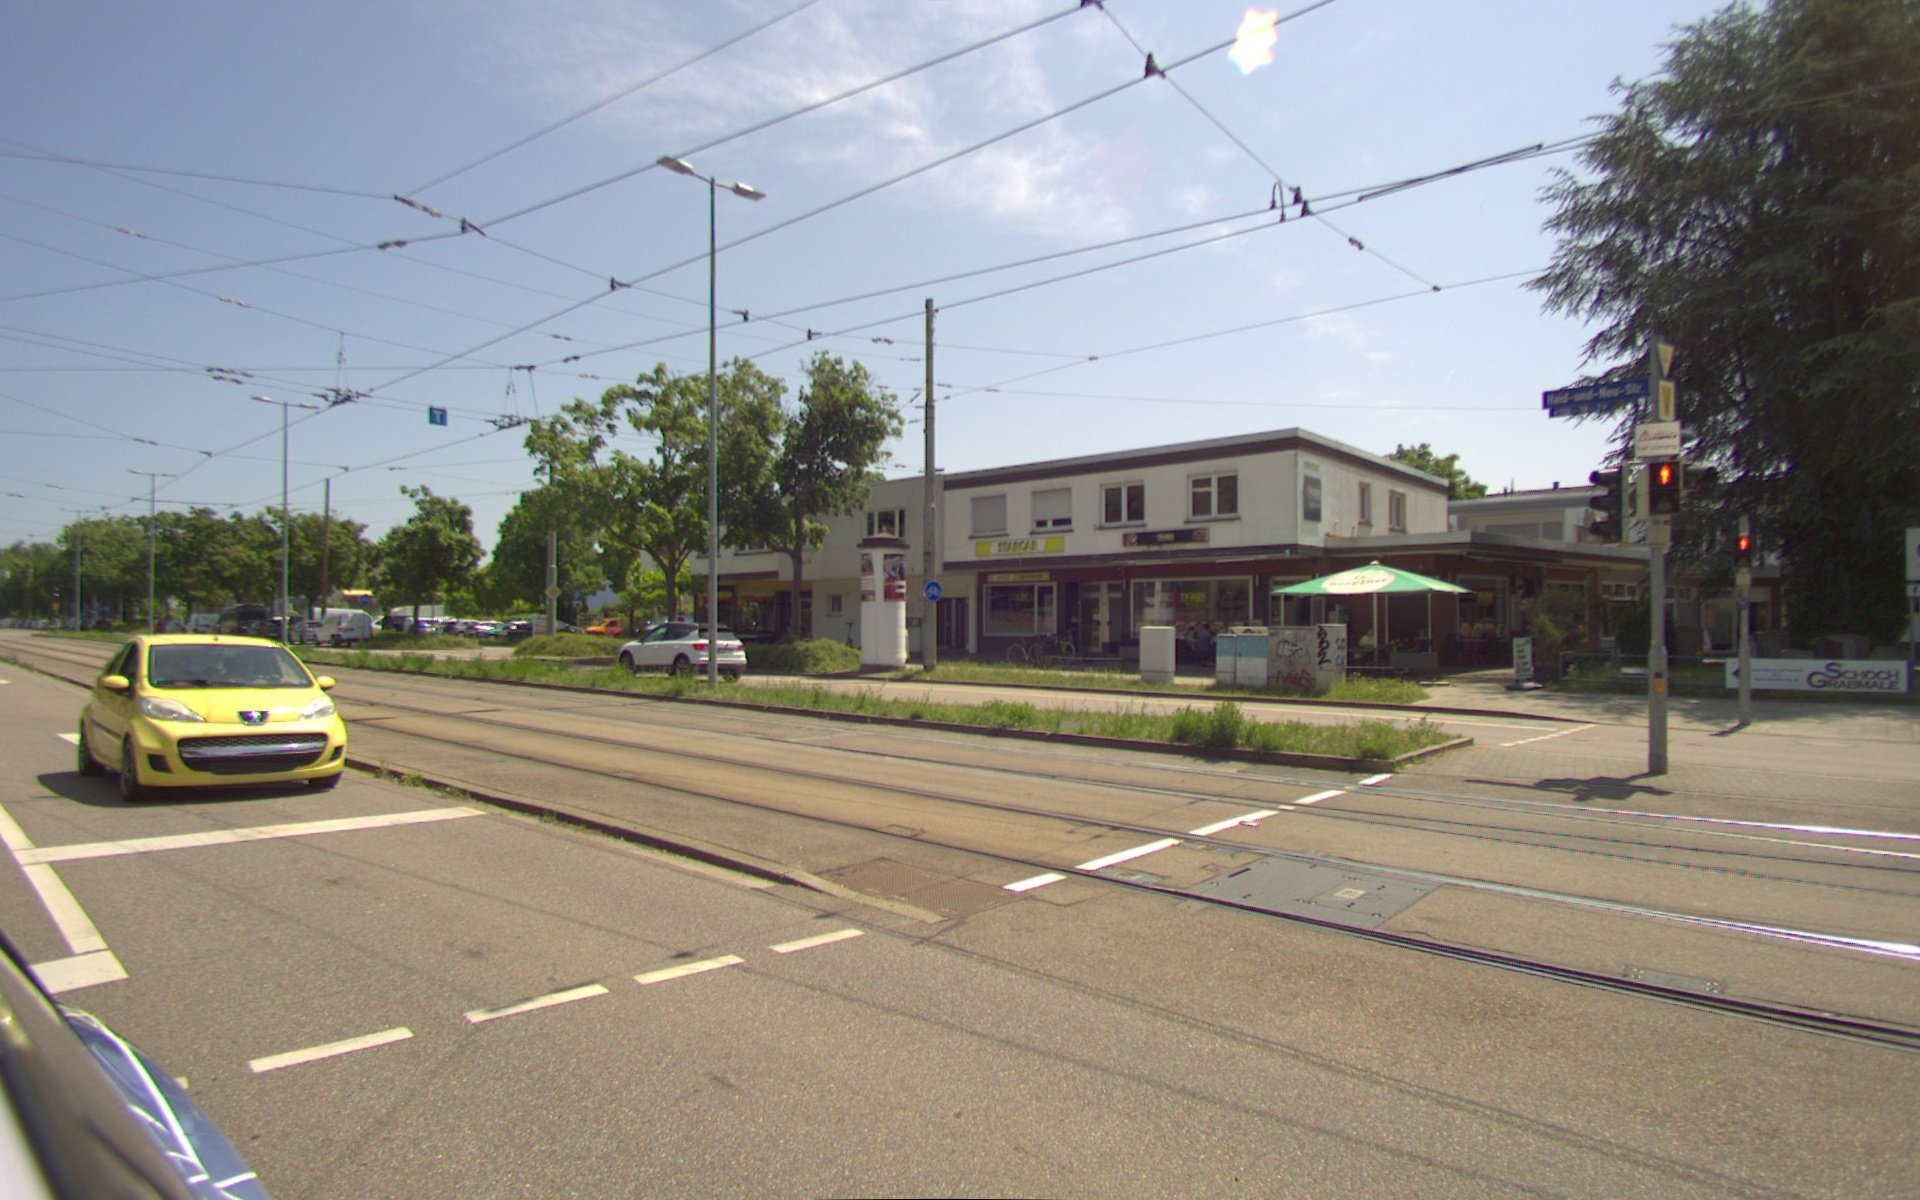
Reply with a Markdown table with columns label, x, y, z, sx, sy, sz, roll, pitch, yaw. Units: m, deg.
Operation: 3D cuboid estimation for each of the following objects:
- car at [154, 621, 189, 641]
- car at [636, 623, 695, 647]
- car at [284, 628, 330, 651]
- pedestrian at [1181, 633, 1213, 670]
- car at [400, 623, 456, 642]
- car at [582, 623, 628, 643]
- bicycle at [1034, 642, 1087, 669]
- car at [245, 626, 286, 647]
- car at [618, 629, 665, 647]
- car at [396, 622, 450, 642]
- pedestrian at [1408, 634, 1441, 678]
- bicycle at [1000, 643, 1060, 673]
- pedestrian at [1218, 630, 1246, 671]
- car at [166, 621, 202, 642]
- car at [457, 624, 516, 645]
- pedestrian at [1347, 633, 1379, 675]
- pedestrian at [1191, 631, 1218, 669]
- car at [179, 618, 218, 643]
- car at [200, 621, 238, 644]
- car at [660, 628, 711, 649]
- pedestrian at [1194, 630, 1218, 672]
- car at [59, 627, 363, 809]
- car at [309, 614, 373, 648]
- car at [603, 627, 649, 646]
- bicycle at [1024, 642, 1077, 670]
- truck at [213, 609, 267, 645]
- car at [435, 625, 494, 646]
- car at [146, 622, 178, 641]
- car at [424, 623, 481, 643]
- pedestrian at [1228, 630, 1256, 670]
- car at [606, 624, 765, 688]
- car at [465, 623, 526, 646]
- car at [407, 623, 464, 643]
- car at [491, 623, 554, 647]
| label | x | y | z | sx | sy | sz | roll | pitch | yaw |
| --- | --- | --- | --- | --- | --- | --- | --- | --- | --- |
| car | -70.583 | 2.790 | 90.578 | 4.201 | 1.807 | 1.659 | -2 | -3 | 42 |
| car | -22.393 | 2.651 | 77.004 | 1.812 | 1.798 | 3.947 | -1 | -2 | 39 |
| car | -40.795 | 2.435 | 63.221 | 3.570 | 1.397 | 1.652 | -1 | -3 | 44 |
| pedestrian | 7.415 | 1.603 | 31.639 | 0.810 | 1.136 | 0.558 | -1 | -3 | 43 |
| car | -40.514 | 2.476 | 77.128 | 1.601 | 1.404 | 3.373 | -1 | -2 | 37 |
| car | -29.602 | 2.749 | 84.450 | 1.505 | 1.573 | 3.312 | -1 | -2 | 39 |
| bicycle | 3.336 | 1.840 | 33.753 | 1.787 | 0.854 | 0.522 | -1 | 0 | 42 |
| car | -48.151 | 2.510 | 70.147 | 3.670 | 1.397 | 1.652 | -1 | -3 | 44 |
| car | -25.396 | 3.018 | 80.764 | 1.505 | 1.400 | 3.312 | -1 | -2 | 39 |
| car | -42.033 | 2.528 | 79.293 | 1.601 | 1.517 | 3.373 | -1 | -2 | 37 |
| pedestrian | 12.234 | 1.471 | 26.647 | 0.674 | 1.136 | 0.511 | -1 | -3 | 43 |
| bicycle | 2.223 | 1.845 | 32.435 | 1.959 | 0.854 | 0.595 | -1 | 0 | 42 |
| pedestrian | 8.256 | 1.530 | 30.720 | 0.674 | 1.208 | 0.511 | -1 | -3 | 43 |
| car | -66.915 | 2.712 | 87.228 | 4.201 | 1.807 | 1.659 | -1 | -2 | 42 |
| car | -32.617 | 2.373 | 69.780 | 1.601 | 1.404 | 3.373 | -1 | -2 | 37 |
| pedestrian | 11.094 | 1.481 | 27.866 | 0.674 | 1.136 | 0.511 | -1 | -3 | 43 |
| pedestrian | 7.771 | 1.589 | 32.187 | 0.674 | 1.172 | 0.511 | -1 | -3 | 43 |
| car | -62.835 | 2.537 | 83.509 | 4.508 | 1.989 | 1.659 | -1 | -2 | 42 |
| car | -58.771 | 2.559 | 80.264 | 3.867 | 1.807 | 1.659 | -1 | -2 | 42 |
| car | -20.496 | 2.851 | 75.586 | 1.533 | 1.549 | 3.448 | -1 | -2 | 39 |
| pedestrian | 7.442 | 1.535 | 30.637 | 0.491 | 1.248 | 0.568 | -1 | -3 | 42 |
| car | -7.362 | 1.045 | 9.827 | 3.654 | 1.432 | 1.599 | -2 | -6 | 42 |
| car | -36.090 | 1.826 | 58.996 | 4.661 | 1.898 | 1.972 | -1 | -2 | 43 |
| car | -27.395 | 3.004 | 83.108 | 1.505 | 1.469 | 3.312 | -1 | -2 | 39 |
| bicycle | 2.958 | 1.834 | 33.333 | 1.787 | 0.854 | 0.522 | -1 | 0 | 42 |
| truck | -52.808 | 1.956 | 74.179 | 4.929 | 2.561 | 2.195 | -1 | -3 | 43 |
| car | -34.662 | 2.487 | 70.880 | 1.601 | 1.404 | 3.373 | -1 | -2 | 37 |
| car | -75.368 | 2.961 | 95.562 | 3.822 | 1.716 | 1.659 | -1 | -2 | 42 |
| car | -36.771 | 2.415 | 73.360 | 1.601 | 1.404 | 3.373 | -1 | -2 | 37 |
| pedestrian | 8.673 | 1.520 | 31.149 | 0.674 | 1.218 | 0.511 | -1 | -3 | 43 |
| car | -7.321 | 1.478 | 26.879 | 4.134 | 1.564 | 1.974 | -1 | -4 | 38 |
| car | -31.104 | 2.334 | 67.852 | 1.596 | 1.502 | 3.373 | -1 | -2 | 37 |
| car | -38.718 | 2.424 | 74.792 | 1.601 | 1.404 | 3.373 | -1 | -2 | 37 |
| car | -28.858 | 2.318 | 66.847 | 1.791 | 1.502 | 3.373 | -1 | -2 | 37 |
